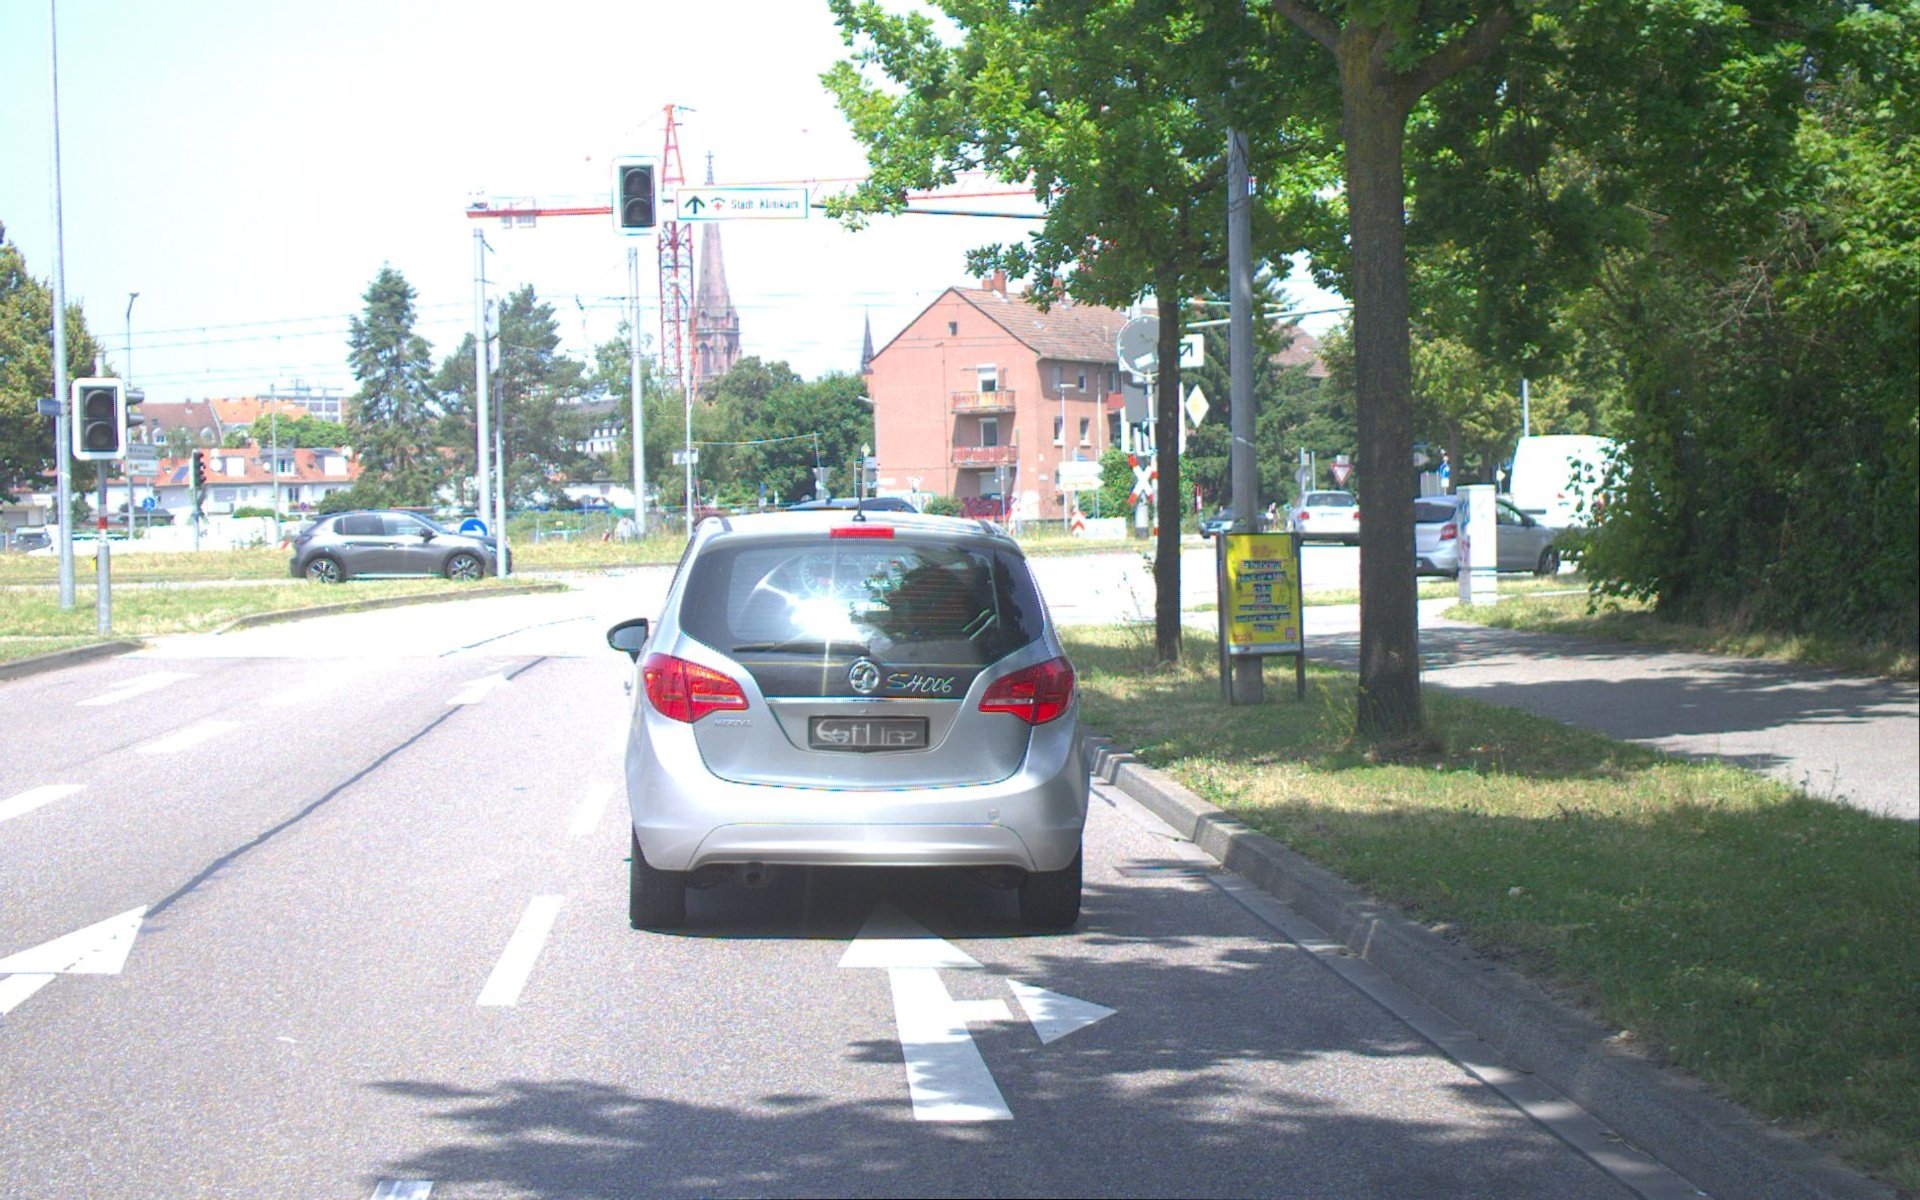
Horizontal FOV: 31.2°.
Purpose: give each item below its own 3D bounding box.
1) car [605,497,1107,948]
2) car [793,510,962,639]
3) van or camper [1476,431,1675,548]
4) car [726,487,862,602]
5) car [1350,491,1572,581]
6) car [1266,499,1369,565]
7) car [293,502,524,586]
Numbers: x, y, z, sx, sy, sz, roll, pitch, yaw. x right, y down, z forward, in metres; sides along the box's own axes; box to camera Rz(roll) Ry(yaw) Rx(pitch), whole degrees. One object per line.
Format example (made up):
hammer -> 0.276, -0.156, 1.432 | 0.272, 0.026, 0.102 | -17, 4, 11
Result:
car -> -0.533, 0.392, 14.258 | 1.792, 1.606, 3.892 | 0, 1, -5
car -> -1.053, -0.365, 43.796 | 2.014, 1.512, 4.461 | -1, 2, -1
van or camper -> 12.729, -2.279, 70.826 | 2.497, 2.283, 4.913 | 0, 2, 30
car -> -2.503, -0.883, 52.428 | 1.998, 1.683, 4.034 | 0, 2, -2
car -> 8.494, -1.095, 58.077 | 1.948, 1.437, 3.991 | 0, 2, 39
car -> 9.260, -1.776, 88.788 | 1.995, 1.644, 3.997 | -1, 1, 15
car -> -10.160, -1.047, 63.553 | 3.986, 1.448, 2.000 | -1, 1, -2
